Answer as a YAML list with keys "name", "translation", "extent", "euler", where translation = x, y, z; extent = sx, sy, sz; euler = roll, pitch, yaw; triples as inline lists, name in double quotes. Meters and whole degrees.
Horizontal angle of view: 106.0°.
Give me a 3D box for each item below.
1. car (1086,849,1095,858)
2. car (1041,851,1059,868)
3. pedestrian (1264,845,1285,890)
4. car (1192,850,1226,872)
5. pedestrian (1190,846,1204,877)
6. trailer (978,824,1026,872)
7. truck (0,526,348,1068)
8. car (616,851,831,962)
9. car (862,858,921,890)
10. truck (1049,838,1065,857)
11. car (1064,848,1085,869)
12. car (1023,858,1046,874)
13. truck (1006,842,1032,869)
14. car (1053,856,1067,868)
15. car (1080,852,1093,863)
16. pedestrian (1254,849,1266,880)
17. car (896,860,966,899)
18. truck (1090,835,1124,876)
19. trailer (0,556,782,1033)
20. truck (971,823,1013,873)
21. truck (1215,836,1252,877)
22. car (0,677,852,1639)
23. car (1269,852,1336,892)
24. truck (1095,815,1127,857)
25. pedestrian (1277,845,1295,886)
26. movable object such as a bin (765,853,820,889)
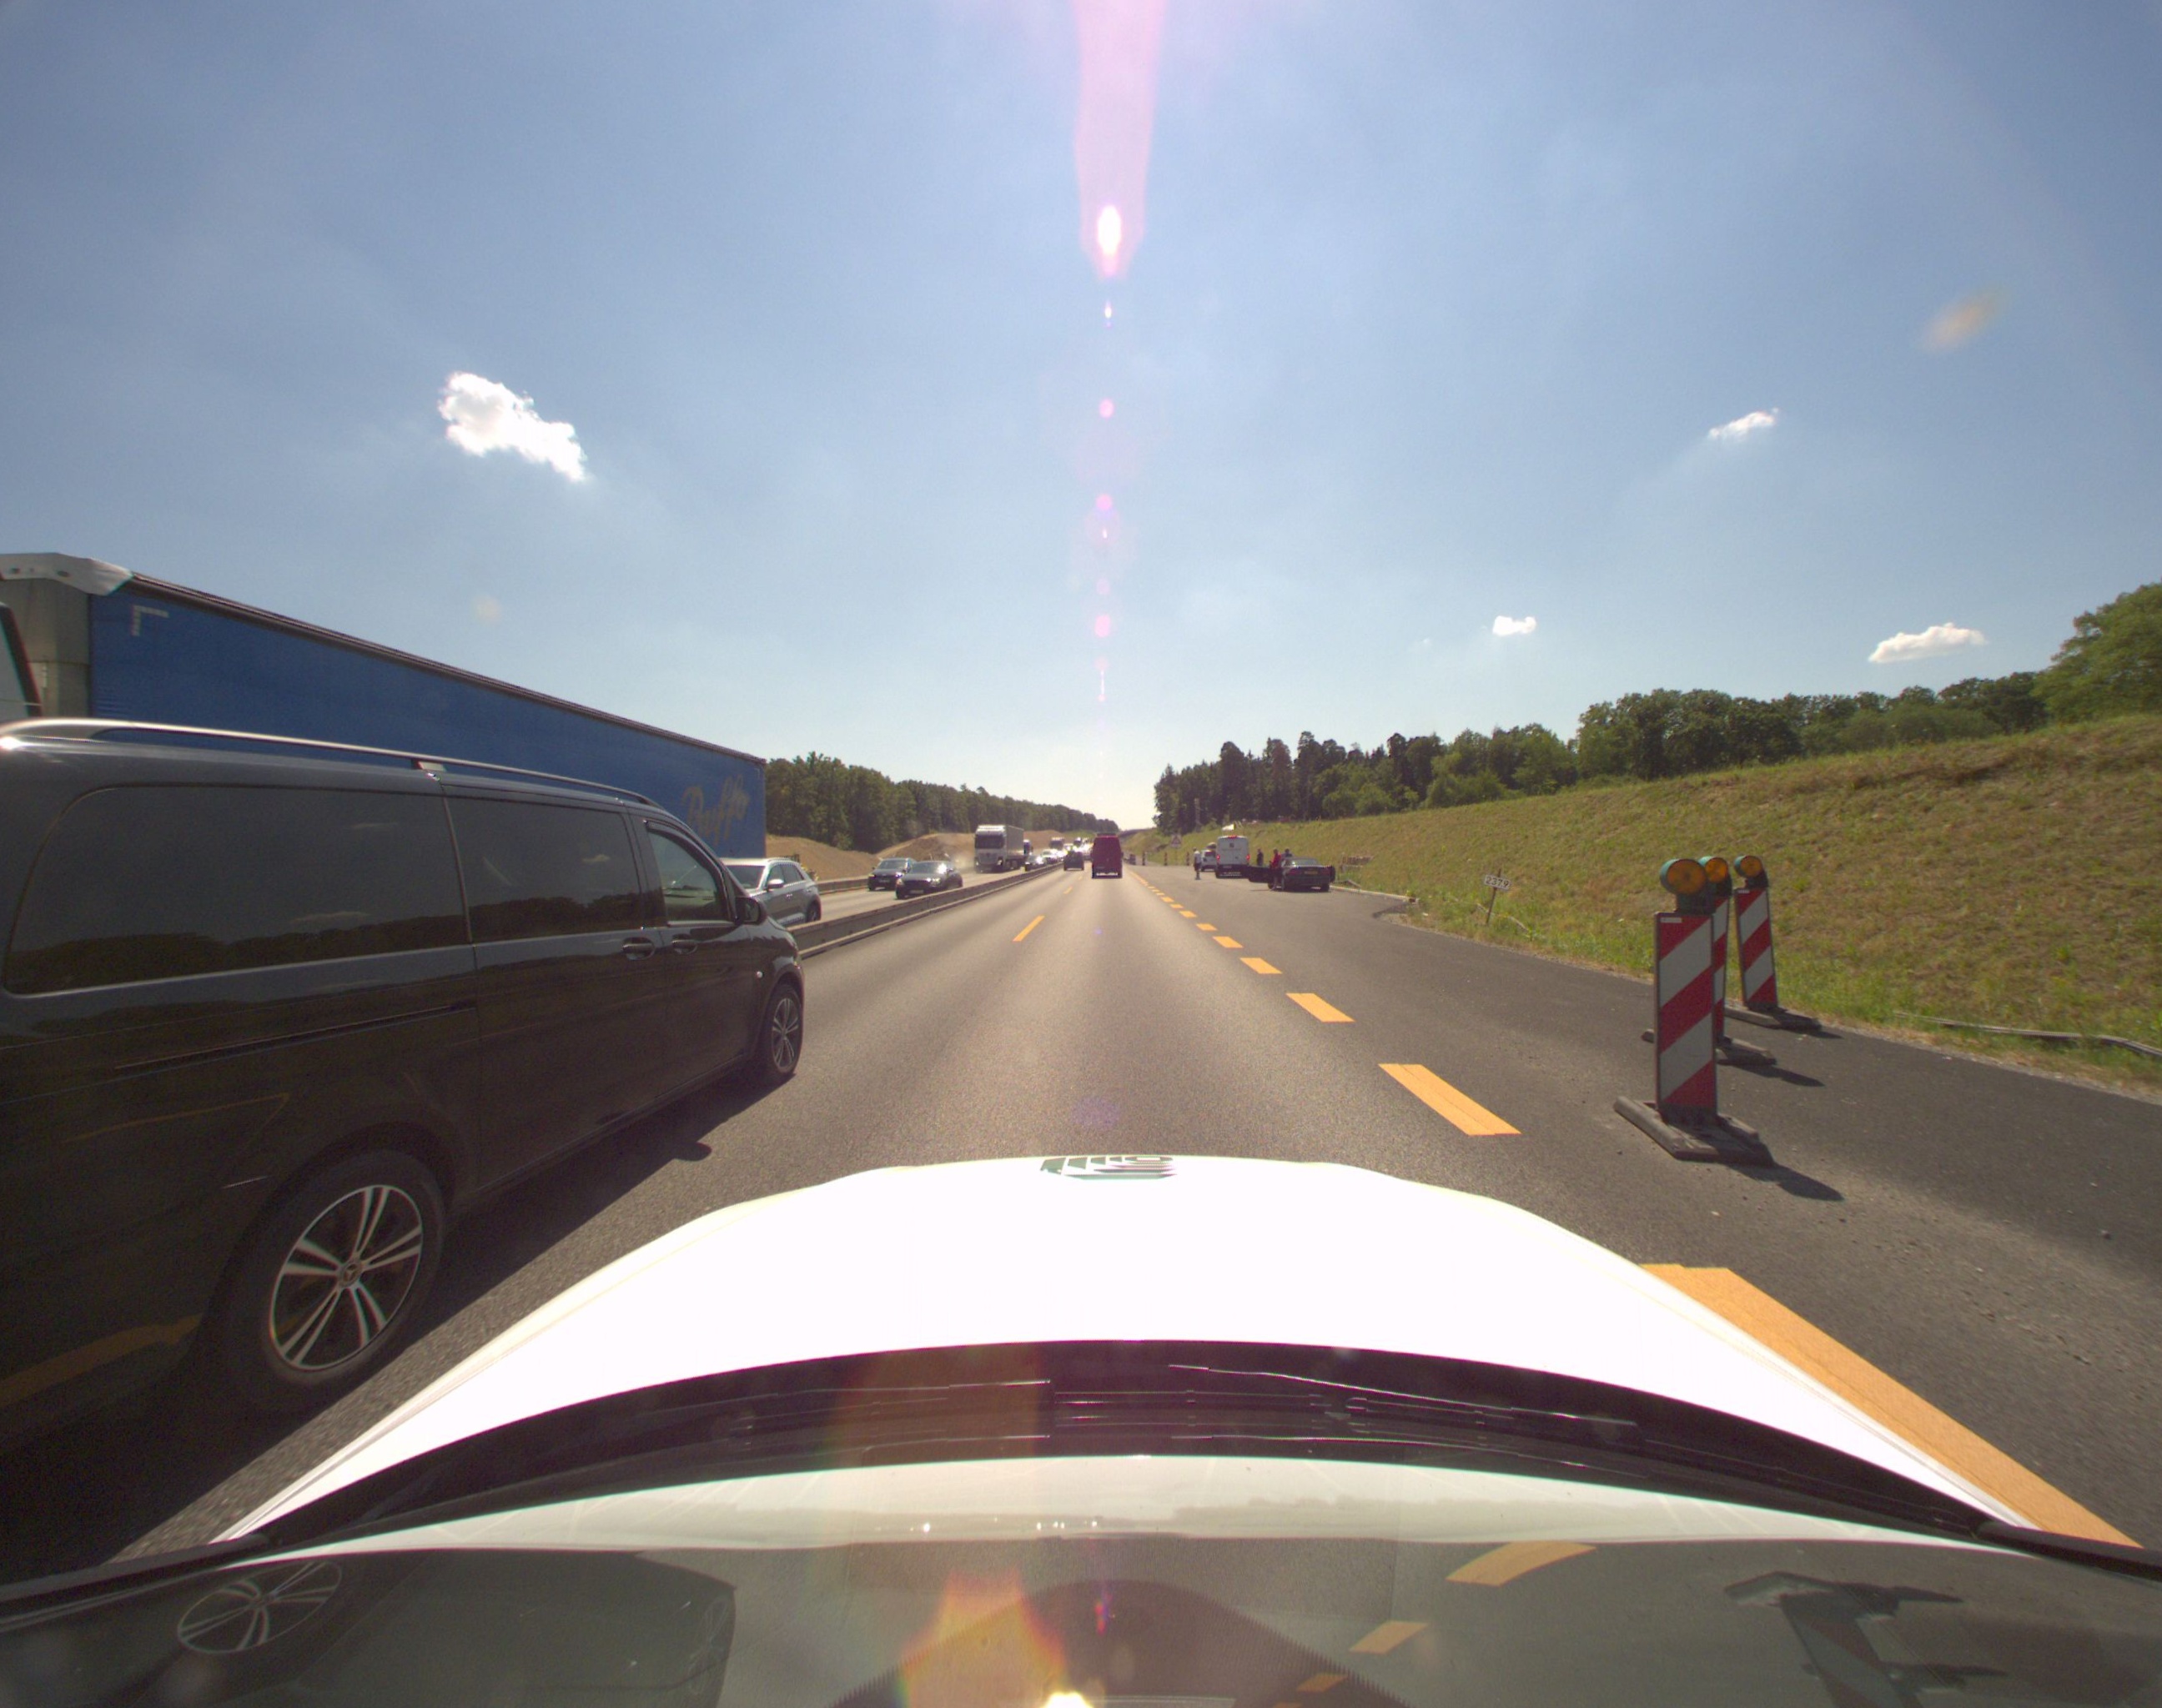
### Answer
- name: "car"
  translation: [2.043, -0.117, 182.772]
  extent: [1.986, 2.014, 4.001]
  euler: [0, -1, 1]
- name: "car"
  translation: [-3.557, 0.673, 95.530]
  extent: [1.819, 1.927, 5.264]
  euler: [0, -1, 1]
- name: "pedestrian"
  translation: [7.945, 0.548, 33.401]
  extent: [0.642, 1.828, 0.555]
  euler: [0, 0, -19]
- name: "car"
  translation: [10.244, 0.518, 65.477]
  extent: [1.770, 1.677, 4.852]
  euler: [0, 1, -2]
- name: "pedestrian"
  translation: [6.831, 0.428, 48.008]
  extent: [0.722, 1.828, 0.719]
  euler: [0, -1, -4]
- name: "trailer"
  translation: [-7.257, -0.500, 76.504]
  extent: [2.780, 4.075, 13.715]
  euler: [0, 0, 2]
- name: "truck"
  translation: [-9.369, -0.427, 6.337]
  extent: [2.583, 4.053, 5.150]
  euler: [0, 0, 1]
- name: "car"
  translation: [-5.912, 0.774, 14.088]
  extent: [1.769, 1.555, 4.139]
  euler: [-3, 0, 1]
- name: "car"
  translation: [-8.899, 0.915, 38.573]
  extent: [1.625, 1.424, 4.502]
  euler: [0, -1, 1]
- name: "truck"
  translation: [-4.815, -1.218, 166.778]
  extent: [2.499, 3.617, 9.646]
  euler: [0, -1, 3]
- name: "car"
  translation: [-0.554, 0.417, 74.231]
  extent: [1.745, 1.824, 4.784]
  euler: [0, 0, 2]
- name: "car"
  translation: [-4.145, 1.050, 73.536]
  extent: [1.721, 1.387, 4.484]
  euler: [0, -1, 1]
- name: "truck"
  translation: [-7.188, 0.158, 94.946]
  extent: [2.389, 3.059, 5.065]
  euler: [0, -1, 2]
- name: "car"
  translation: [-2.901, 1.100, 111.518]
  extent: [1.719, 1.630, 4.391]
  euler: [0, -1, 1]
- name: "car"
  translation: [0.771, 0.571, 116.616]
  extent: [1.824, 1.522, 3.962]
  euler: [0, -1, 2]
- name: "pedestrian"
  translation: [10.548, 0.619, 47.947]
  extent: [0.561, 1.795, 0.667]
  euler: [0, -1, 0]
- name: "car"
  translation: [-5.718, 0.940, 31.634]
  extent: [1.723, 1.387, 4.861]
  euler: [0, -1, 1]
- name: "truck"
  translation: [1.670, 0.113, 53.862]
  extent: [2.145, 2.590, 5.334]
  euler: [0, -1, 1]
- name: "trailer"
  translation: [-9.160, -0.464, 13.737]
  extent: [2.643, 3.938, 14.001]
  euler: [0, 0, 2]
- name: "truck"
  translation: [-7.484, -0.470, 69.127]
  extent: [2.758, 4.044, 4.945]
  euler: [0, -1, 2]
- name: "truck"
  translation: [9.634, 0.156, 51.864]
  extent: [2.117, 2.457, 5.940]
  euler: [0, 0, 9]
- name: "car"
  translation: [-2.933, 0.598, 4.065]
  extent: [1.867, 1.851, 5.481]
  euler: [0, 0, 2]
- name: "car"
  translation: [9.052, 0.681, 33.679]
  extent: [1.647, 1.426, 4.547]
  euler: [-3, 0, 2]
- name: "truck"
  translation: [4.338, -2.421, 120.168]
  extent: [4.383, 5.496, 16.608]
  euler: [0, -1, 2]
- name: "pedestrian"
  translation: [9.265, 0.525, 36.813]
  extent: [0.624, 1.828, 0.640]
  euler: [0, 0, -10]
- name: "movable object such as a bin"
  translation: [-27.253, 1.575, 77.238]
  extent: [2.160, 3.109, 7.169]
  euler: [-3, 0, 2]
